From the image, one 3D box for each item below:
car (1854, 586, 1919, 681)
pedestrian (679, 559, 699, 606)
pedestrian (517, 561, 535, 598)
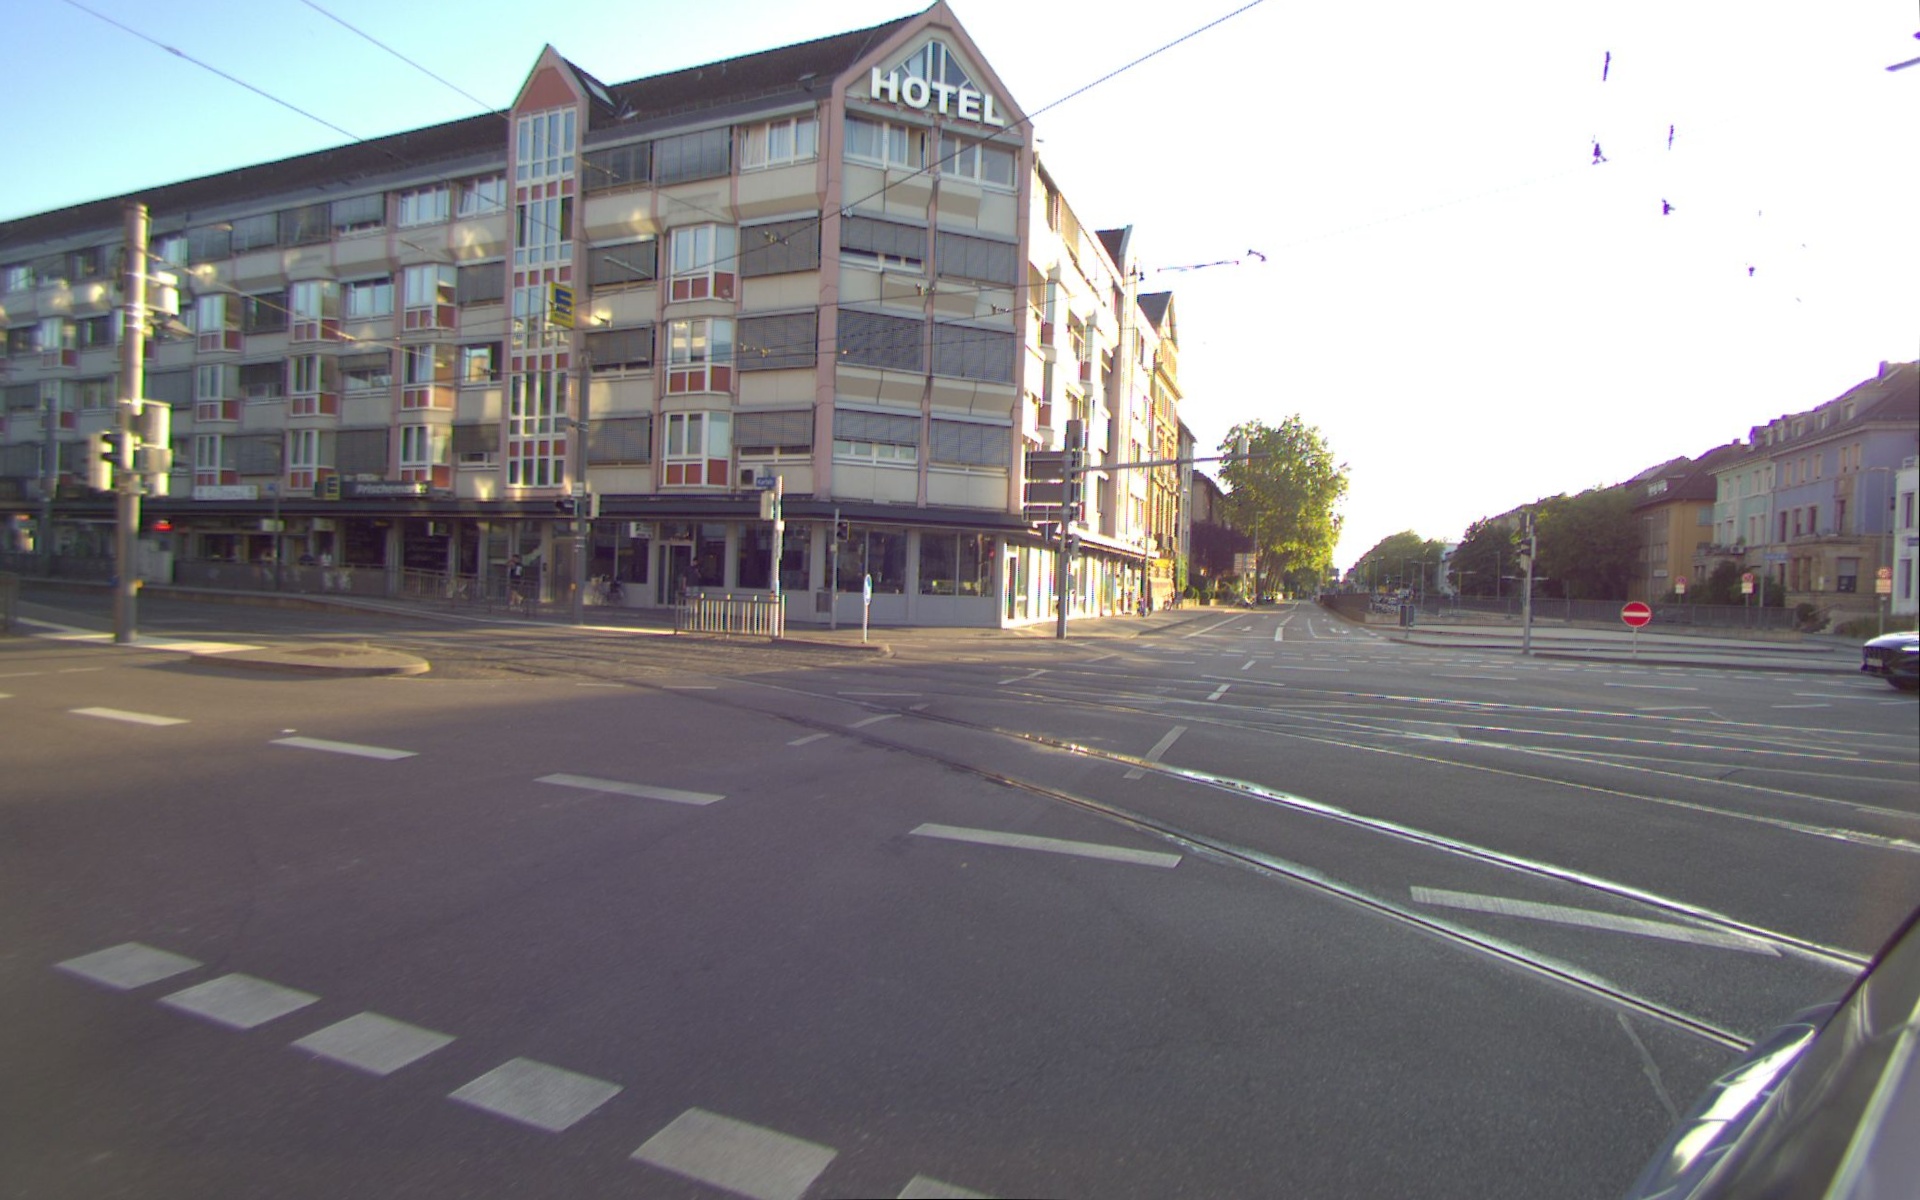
[{"bbox_3d":[19.495,0.692,17.572,5.505,1.648,2.019,3,1,18],"label":"car"},{"bbox_3d":[-8.879,-0.589,33.105,0.468,1.511,0.472,2,1,-32],"label":"pedestrian"},{"bbox_3d":[-15.166,-0.731,35.359,0.468,1.262,0.472,2,1,-32],"label":"pedestrian"}]
